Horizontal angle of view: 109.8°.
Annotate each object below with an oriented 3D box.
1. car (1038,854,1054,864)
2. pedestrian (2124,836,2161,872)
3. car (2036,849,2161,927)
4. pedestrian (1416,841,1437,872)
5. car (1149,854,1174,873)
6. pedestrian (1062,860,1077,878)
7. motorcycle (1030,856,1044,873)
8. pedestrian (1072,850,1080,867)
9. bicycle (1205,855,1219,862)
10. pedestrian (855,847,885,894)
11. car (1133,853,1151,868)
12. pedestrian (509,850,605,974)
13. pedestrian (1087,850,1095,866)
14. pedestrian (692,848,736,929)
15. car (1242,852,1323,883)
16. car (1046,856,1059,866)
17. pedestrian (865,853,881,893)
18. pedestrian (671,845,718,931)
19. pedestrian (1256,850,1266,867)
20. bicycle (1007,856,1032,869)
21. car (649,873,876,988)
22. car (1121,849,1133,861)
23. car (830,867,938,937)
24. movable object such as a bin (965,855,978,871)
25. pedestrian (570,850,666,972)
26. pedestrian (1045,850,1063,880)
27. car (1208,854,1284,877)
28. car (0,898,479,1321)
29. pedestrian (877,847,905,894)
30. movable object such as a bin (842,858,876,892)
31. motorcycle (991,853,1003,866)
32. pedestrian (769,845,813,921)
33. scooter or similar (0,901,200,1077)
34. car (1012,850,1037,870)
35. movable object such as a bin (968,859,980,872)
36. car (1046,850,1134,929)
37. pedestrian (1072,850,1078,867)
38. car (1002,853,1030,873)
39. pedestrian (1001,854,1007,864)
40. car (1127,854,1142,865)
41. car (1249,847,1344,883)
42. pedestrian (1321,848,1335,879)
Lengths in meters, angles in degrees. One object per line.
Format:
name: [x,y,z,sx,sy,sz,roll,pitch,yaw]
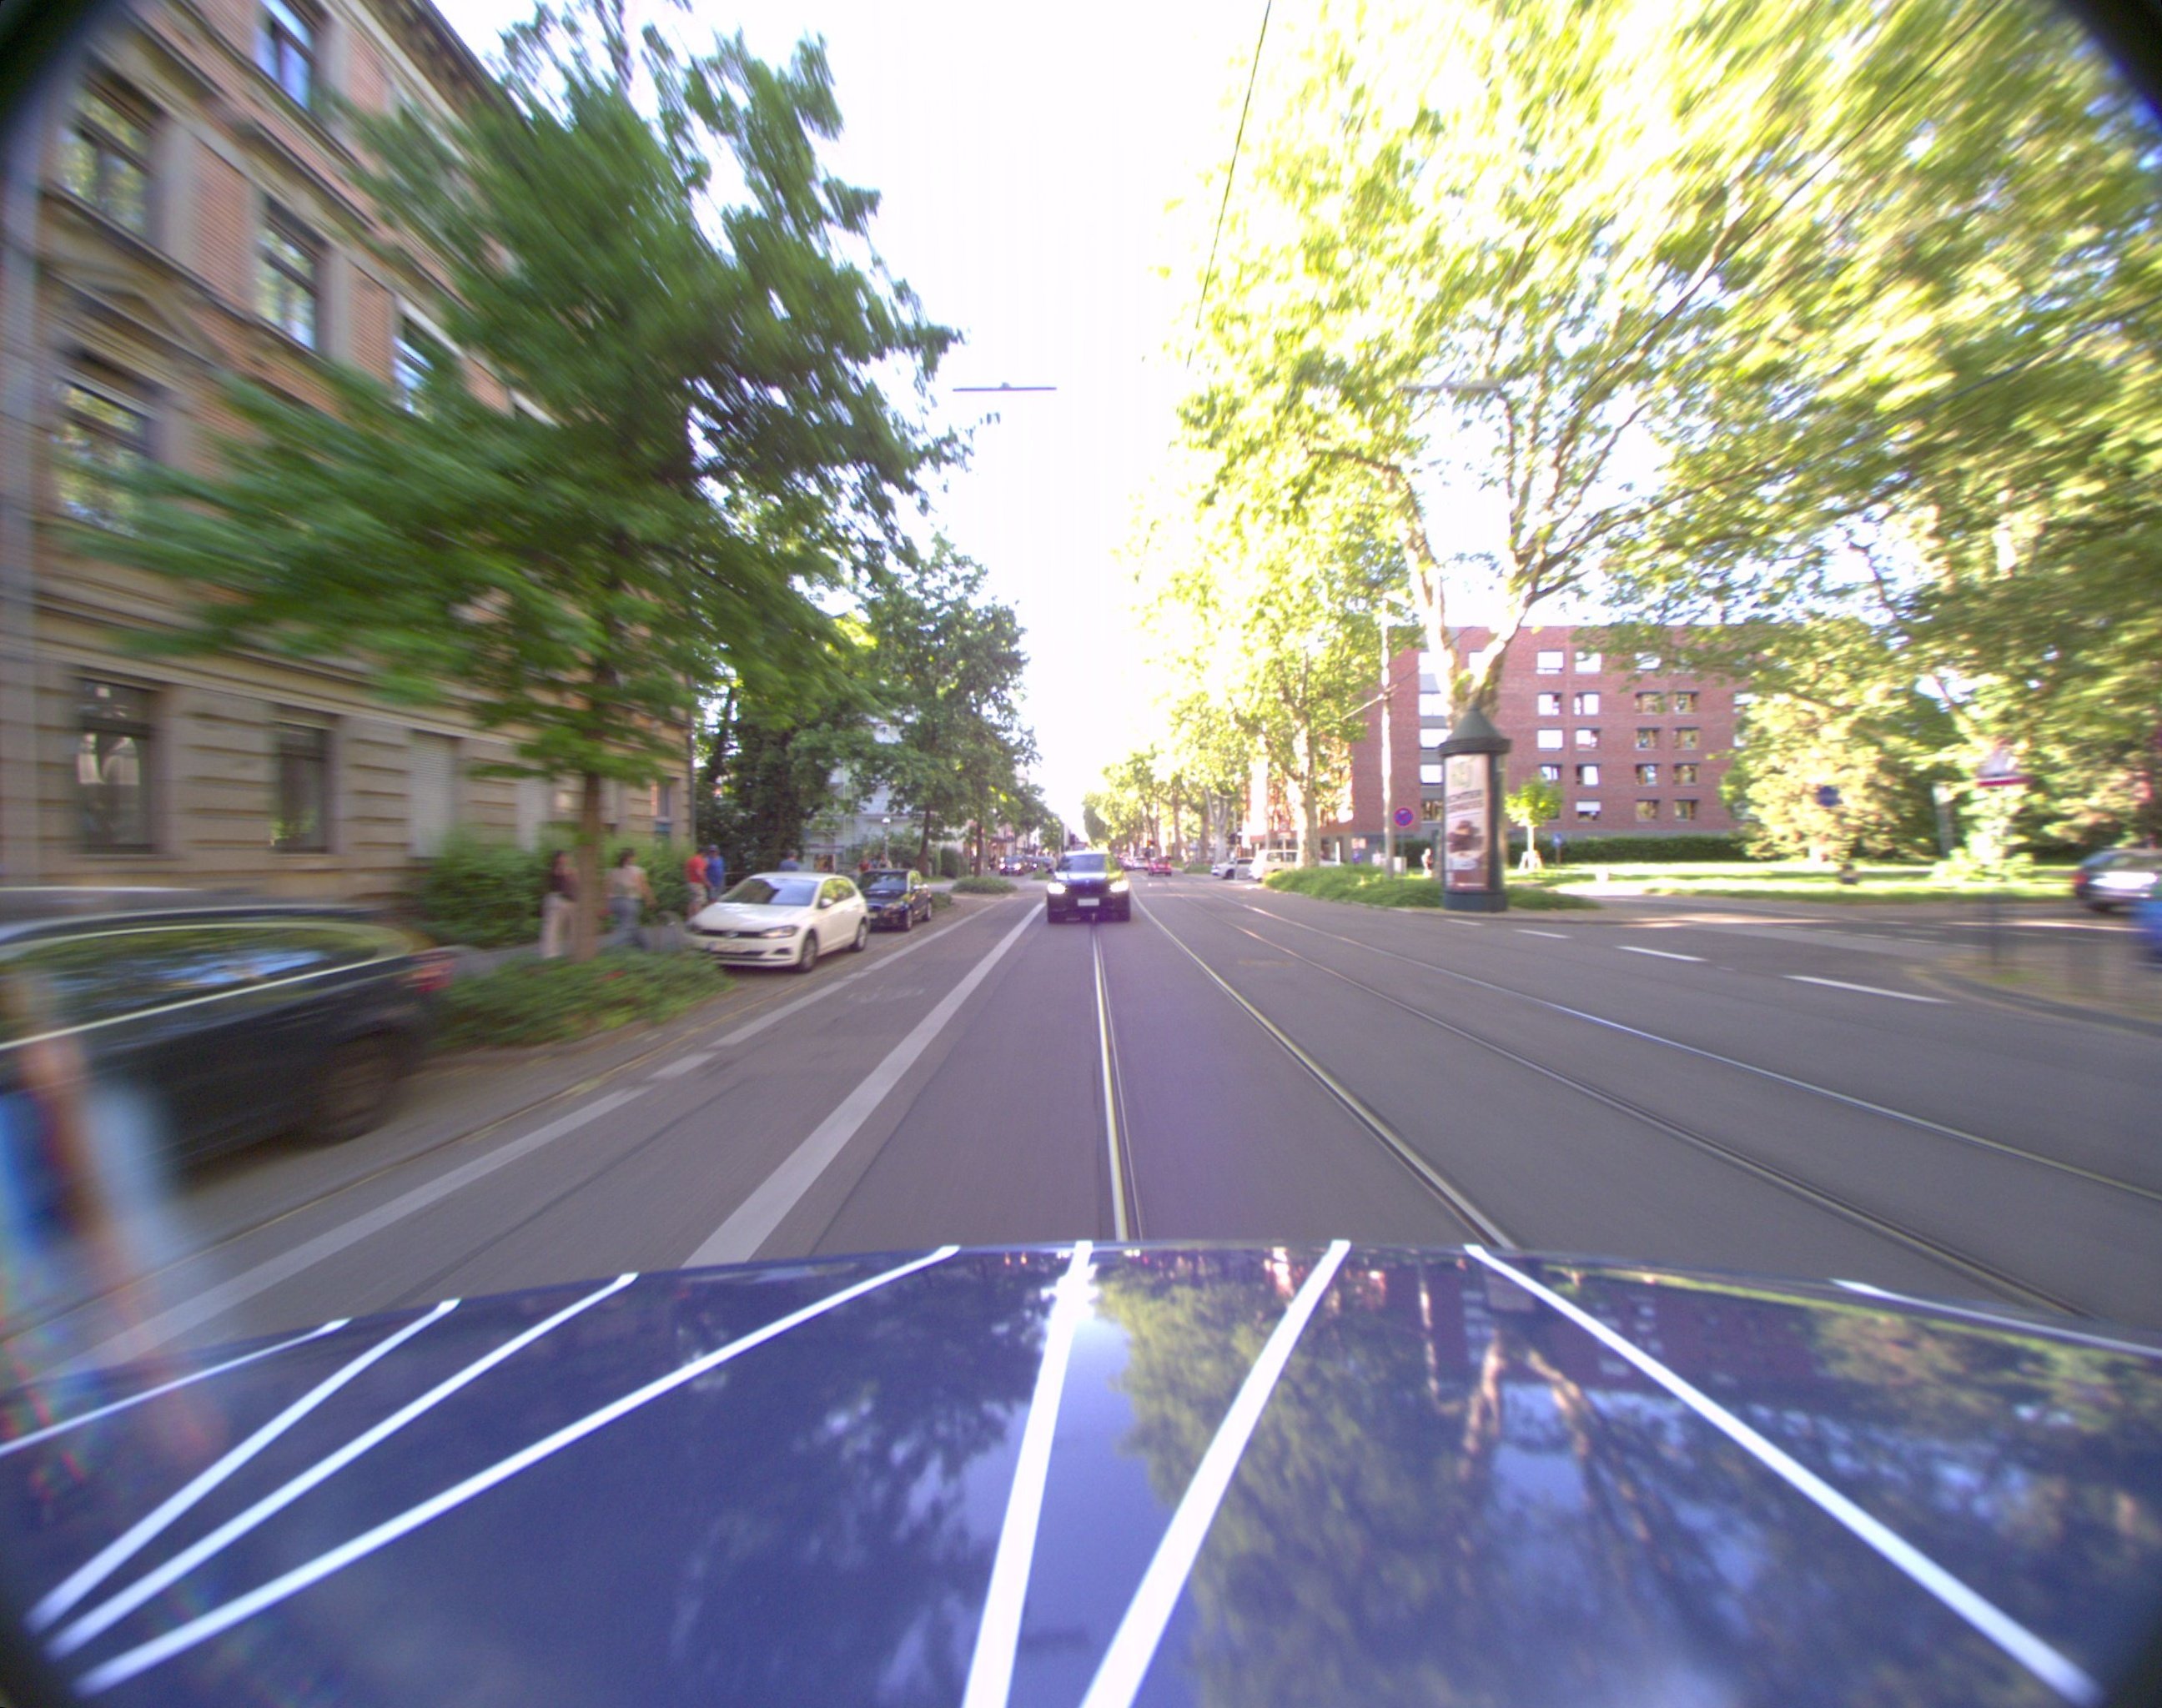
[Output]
car: [-5.336,0.717,115.721,1.958,1.474,4.660,-2,0,3]
pedestrian: [48.840,-0.003,34.933,0.777,1.663,0.713,-1,1,17]
car: [23.830,0.661,16.373,4.540,1.480,1.859,-1,1,-5]
pedestrian: [18.702,0.137,41.137,0.711,1.663,0.779,-1,1,0]
car: [6.526,0.788,61.874,1.665,1.435,3.473,-1,0,1]
pedestrian: [-0.720,0.950,47.637,0.677,1.112,0.658,-2,1,-23]
motorcycle: [-3.918,0.904,68.133,1.054,1.446,2.208,-1,1,1]
pedestrian: [-0.501,0.443,78.927,0.690,1.745,0.580,-2,1,-6]
bicycle: [20.866,0.723,120.862,2.098,1.182,0.882,-1,1,17]
pedestrian: [-8.076,0.623,29.120,0.727,1.783,0.969,1,1,11]
car: [6.890,0.724,86.503,1.820,1.559,4.116,1,0,1]
pedestrian: [-7.509,0.799,10.929,0.728,1.699,0.856,-1,1,2]
pedestrian: [1.131,0.460,84.548,0.836,1.703,0.640,-1,1,2]
pedestrian: [-8.225,0.759,17.056,0.600,1.783,0.728,-1,1,-2]
car: [11.631,0.746,44.067,4.150,1.637,1.902,-1,1,-1]
car: [-4.706,1.190,127.412,1.899,1.477,4.000,-1,0,1]
pedestrian: [-9.128,0.816,33.304,0.620,1.716,0.553,-2,1,-15]
pedestrian: [-8.242,0.702,16.217,0.600,1.783,0.728,-1,1,-3]
pedestrian: [17.993,0.446,75.917,0.765,1.733,0.972,-1,1,1]
bicycle: [-5.779,0.799,71.557,2.209,1.202,1.029,1,1,1]
car: [-4.879,1.092,12.358,1.889,1.360,4.106,2,0,1]
car: [11.058,0.234,181.501,2.429,2.833,5.072,-2,0,0]
car: [-4.718,1.098,18.730,1.677,1.404,3.842,2,0,-1]
movable object such as a bin: [-9.387,0.765,65.021,1.002,1.389,0.824,1,1,-1]
pedestrian: [-6.682,0.791,11.018,0.728,1.683,0.957,-1,1,3]
pedestrian: [-1.696,0.670,47.604,0.870,1.874,0.996,-2,1,-17]
car: [11.280,0.778,52.126,4.776,1.452,1.954,-1,1,-1]
car: [-5.171,1.078,2.996,1.888,1.458,4.593,2,0,1]
pedestrian: [-7.331,0.631,29.400,0.727,1.783,0.854,1,1,11]
movable object such as a bin: [-8.181,0.773,28.007,0.640,1.195,1.306,1,0,11]
motorcycle: [-9.066,0.649,82.442,0.954,1.309,2.650,5,-1,-1]
pedestrian: [-6.916,0.680,18.135,0.727,1.783,0.600,-1,1,4]
scooter or similar: [-8.435,1.062,6.322,0.577,1.239,1.335,-1,1,2]
car: [-5.681,0.632,77.249,1.998,1.885,4.194,3,0,3]
movable object such as a bin: [-8.814,0.954,62.855,0.883,1.104,0.697,1,1,-1]
car: [0.236,0.796,19.732,1.937,1.718,5.072,-2,0,1]
pedestrian: [-0.628,0.442,79.605,0.493,1.760,0.704,-1,1,16]
car: [-5.437,0.746,63.848,1.766,1.612,4.442,1,0,2]
pedestrian: [-9.249,0.649,91.459,0.680,1.198,0.648,-2,1,-10]
car: [6.945,0.706,99.554,1.780,1.452,4.204,-1,0,1]
car: [11.609,0.578,41.201,4.582,1.823,1.938,-1,1,-1]
pedestrian: [14.659,0.561,45.087,0.645,1.799,0.752,-1,1,6]
